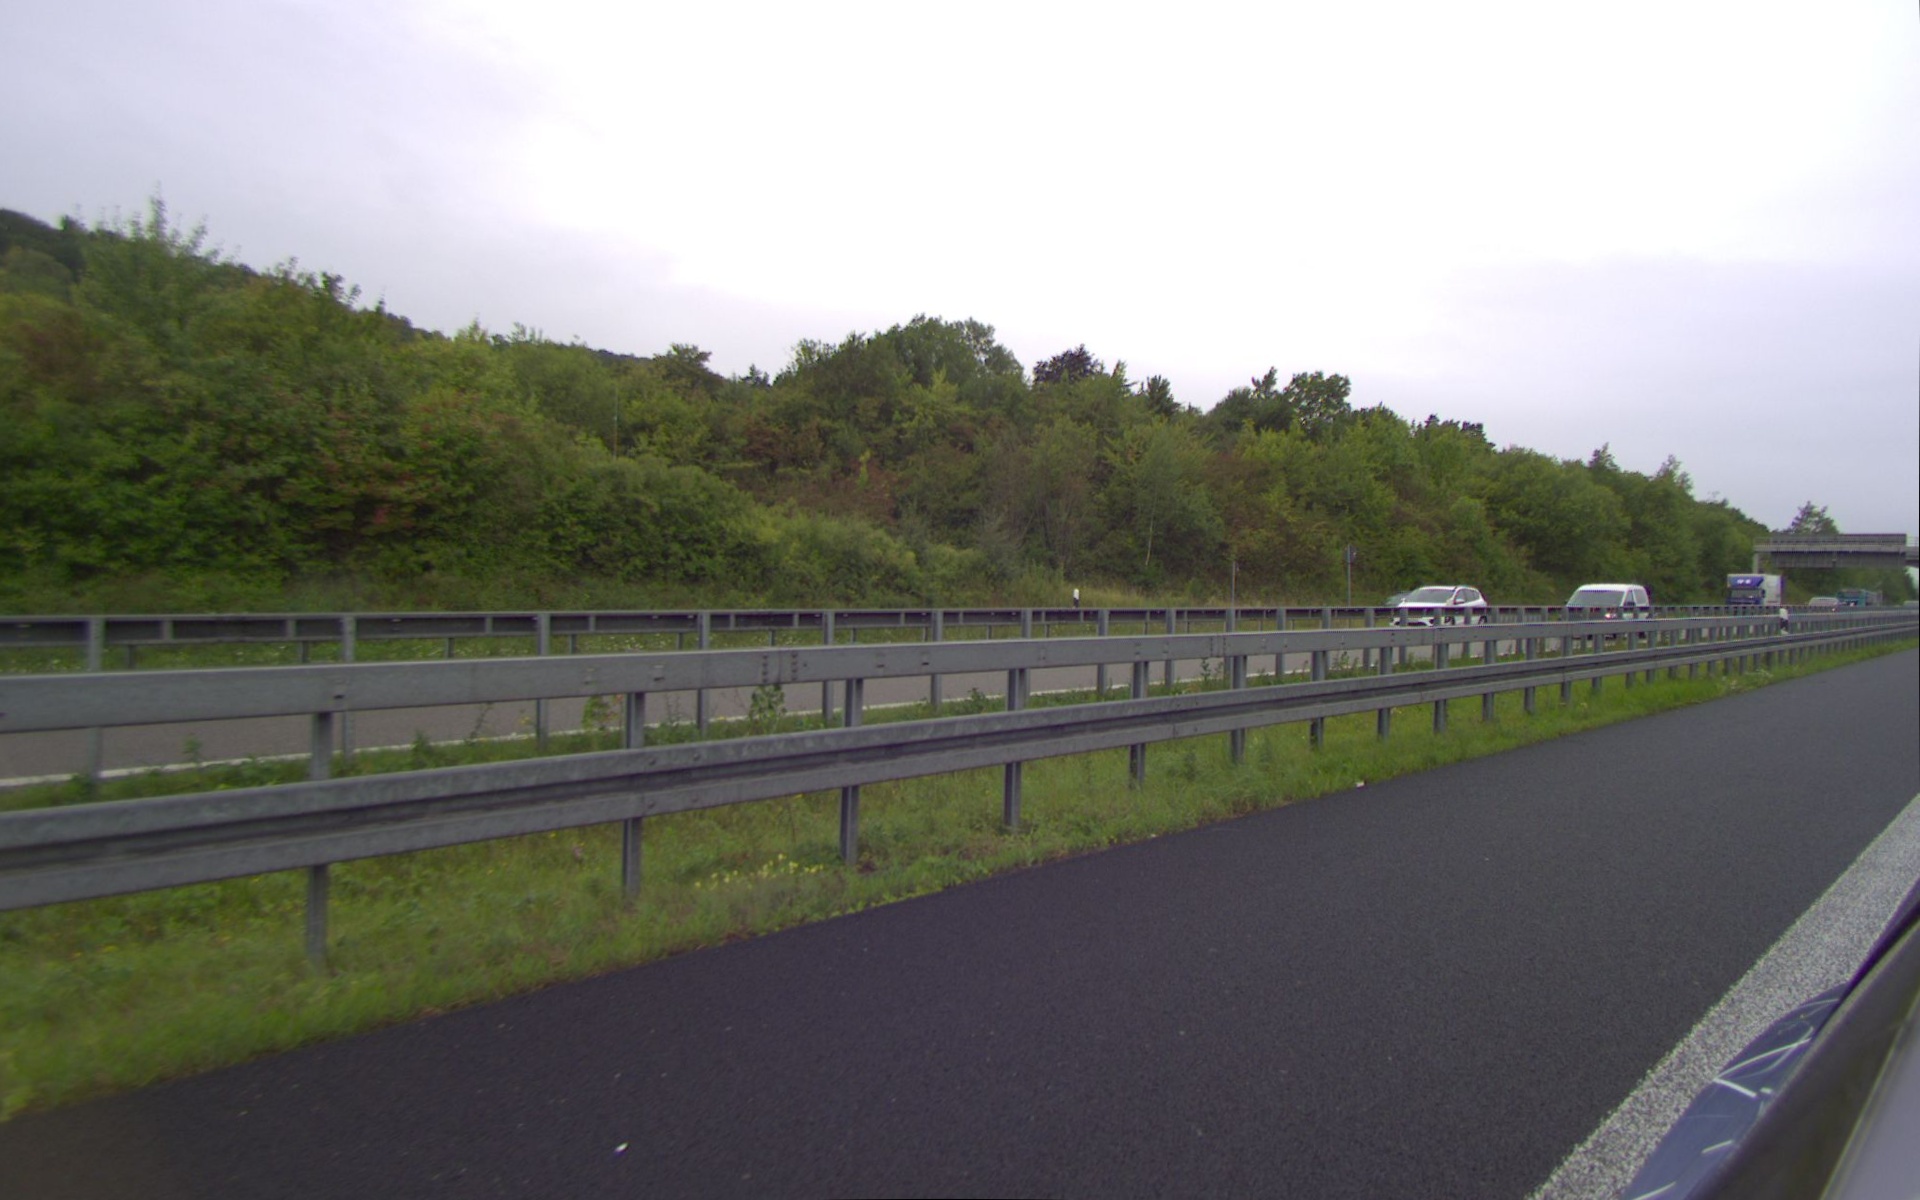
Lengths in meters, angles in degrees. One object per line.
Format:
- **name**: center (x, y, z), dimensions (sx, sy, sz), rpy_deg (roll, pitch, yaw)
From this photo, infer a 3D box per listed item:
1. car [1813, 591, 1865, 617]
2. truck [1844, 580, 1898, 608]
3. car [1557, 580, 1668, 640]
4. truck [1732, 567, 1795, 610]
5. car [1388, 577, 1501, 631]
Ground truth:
- **car**: center (59.339, 0.234, 68.306), dimensions (4.393, 1.676, 2.012), rpy_deg (0, 1, -40)
- **truck**: center (117.687, -0.803, 130.656), dimensions (13.109, 3.460, 2.909), rpy_deg (0, 1, -38)
- **car**: center (21.389, 0.282, 33.135), dimensions (4.203, 1.837, 2.011), rpy_deg (0, 1, -42)
- **truck**: center (67.826, -0.948, 85.347), dimensions (9.127, 3.460, 2.904), rpy_deg (0, 1, -43)
- **car**: center (15.858, 0.101, 33.037), dimensions (4.074, 1.633, 1.899), rpy_deg (0, 1, -42)
